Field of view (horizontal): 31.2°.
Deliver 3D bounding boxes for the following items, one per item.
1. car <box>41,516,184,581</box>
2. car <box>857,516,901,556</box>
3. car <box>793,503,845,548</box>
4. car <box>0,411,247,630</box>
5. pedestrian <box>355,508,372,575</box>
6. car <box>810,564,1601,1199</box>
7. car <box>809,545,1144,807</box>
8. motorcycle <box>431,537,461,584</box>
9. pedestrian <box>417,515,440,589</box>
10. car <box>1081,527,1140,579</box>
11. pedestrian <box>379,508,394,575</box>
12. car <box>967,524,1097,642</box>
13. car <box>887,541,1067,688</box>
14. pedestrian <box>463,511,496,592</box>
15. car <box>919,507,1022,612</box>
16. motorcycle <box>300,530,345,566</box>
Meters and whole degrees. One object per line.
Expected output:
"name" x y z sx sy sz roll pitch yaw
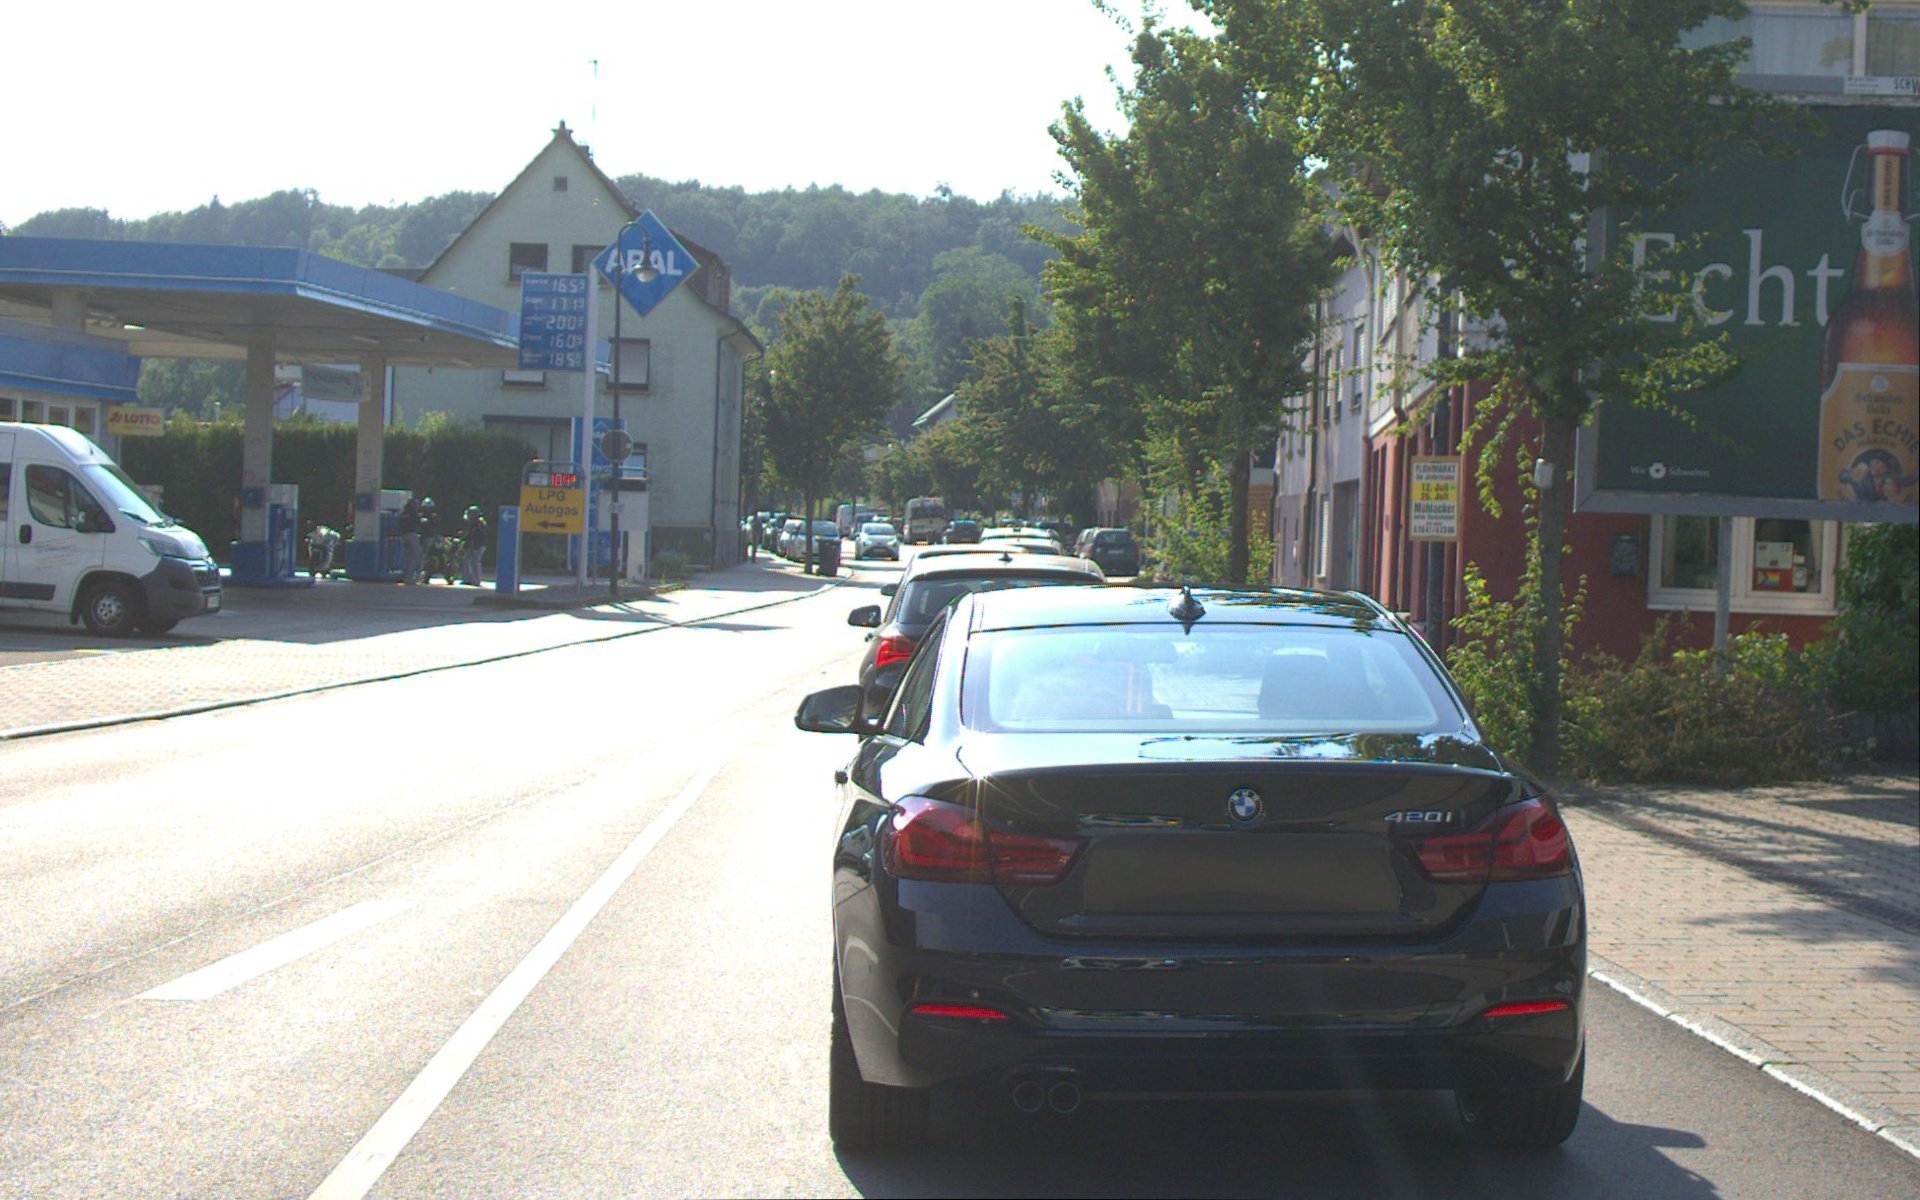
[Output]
"car" -19.731 -1.199 80.011 3.150 1.423 1.440 1 1 -16
"car" -3.179 -2.526 135.298 1.597 1.480 3.475 2 1 0
"car" -4.847 -2.569 118.656 1.597 1.480 3.475 2 1 0
"car" -11.843 -1.022 40.902 6.159 2.436 2.249 2 1 1
"pedestrian" -12.268 -1.199 70.683 0.287 1.362 0.263 1 1 -3
"car" 0.476 0.627 9.572 1.699 1.364 4.263 1 2 -2
"car" 0.184 0.402 21.449 1.772 1.451 3.515 1 1 5
"motorcycle" -10.679 -0.825 71.450 0.363 0.940 1.696 1 1 0
"pedestrian" -11.113 -1.010 71.902 0.407 1.541 0.433 1 1 -2
"car" 4.633 -1.465 105.978 1.597 1.480 3.475 2 1 0
"pedestrian" -11.880 -1.210 71.227 0.262 1.378 0.288 1 1 -3
"car" 1.068 -0.283 49.560 1.592 1.594 3.893 1 1 5
"car" 0.220 0.115 36.113 1.754 1.409 3.422 1 1 2
"pedestrian" -10.027 -1.019 71.775 0.610 1.664 0.442 1 1 -2
"car" 0.214 -0.740 60.975 1.603 1.761 3.411 1 1 3
"motorcycle" -13.340 -1.093 71.940 0.459 0.727 1.473 1 1 8
